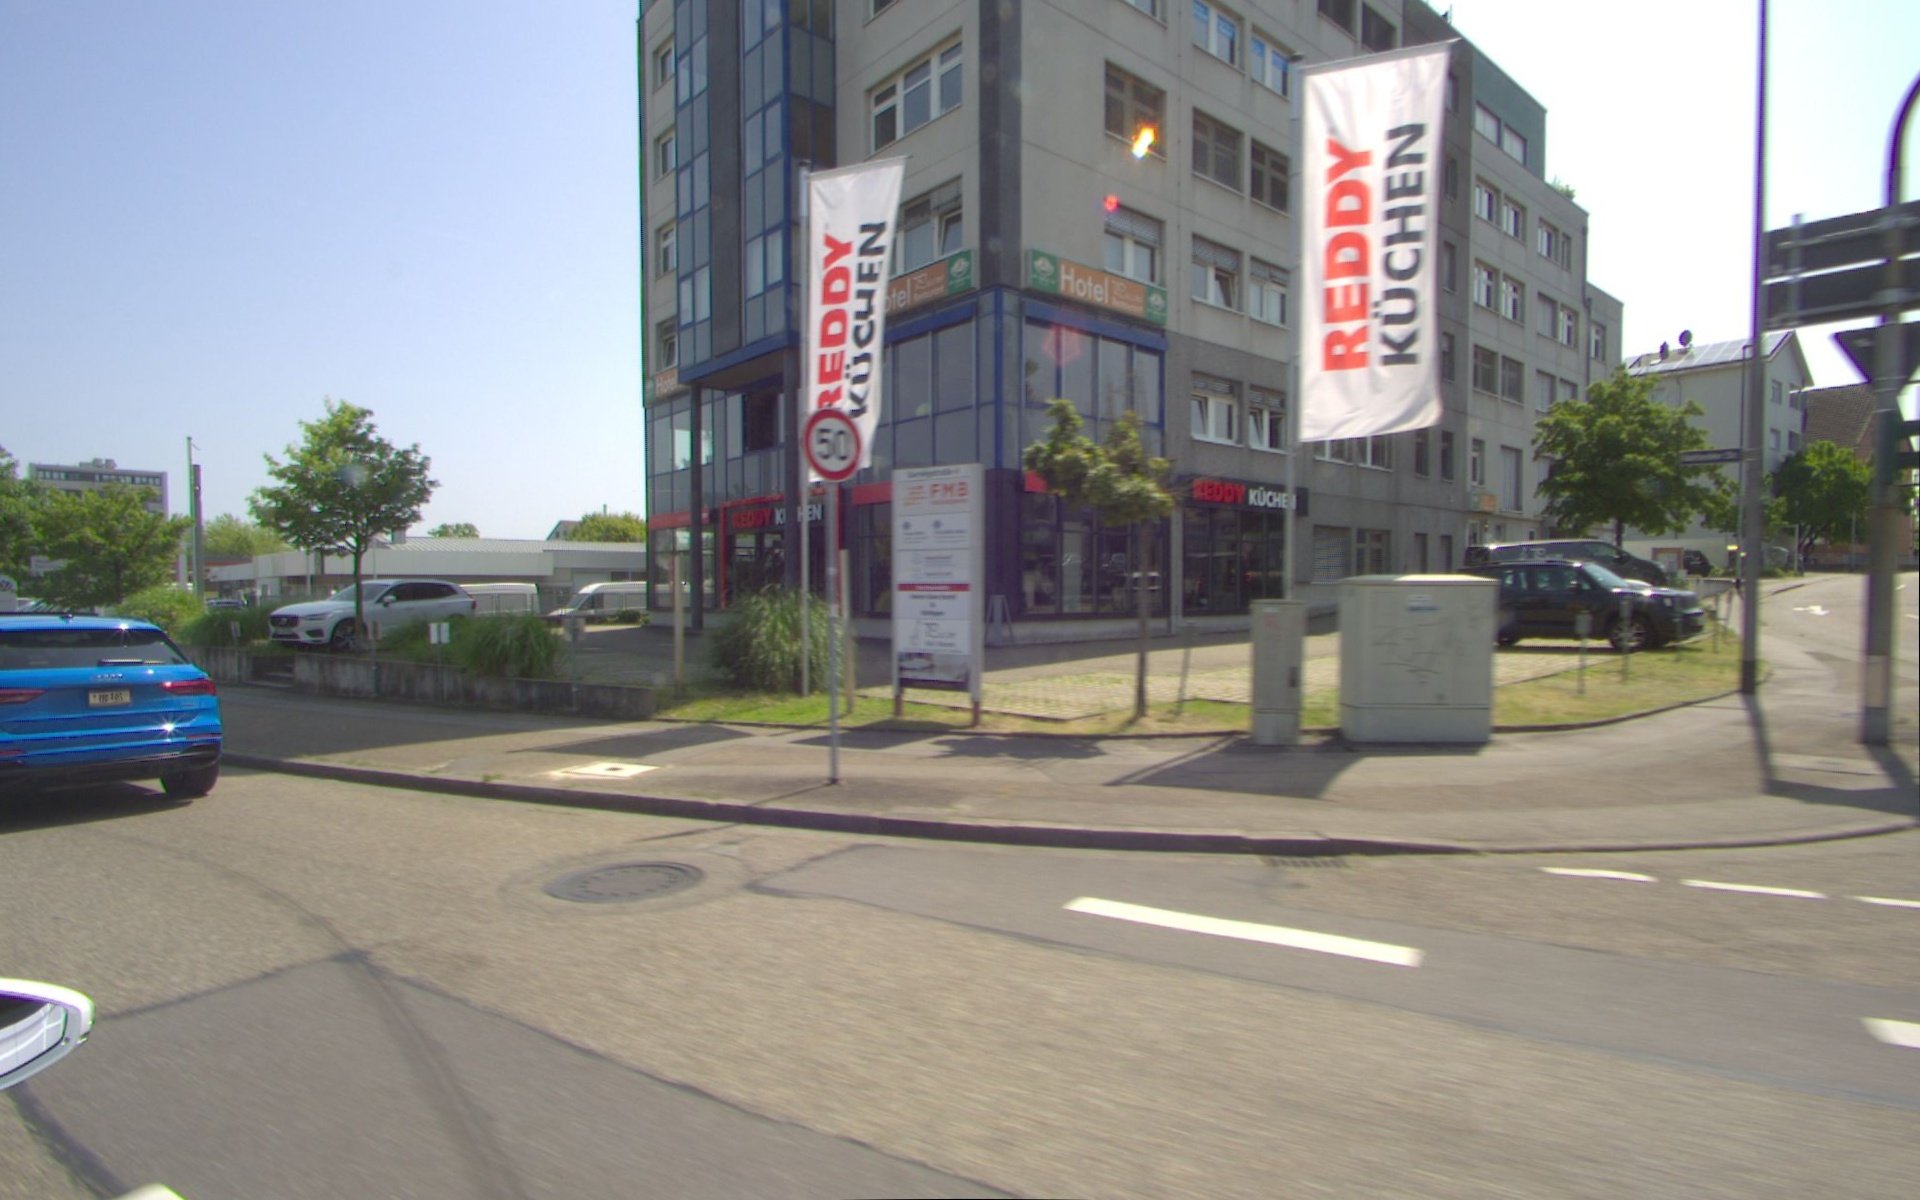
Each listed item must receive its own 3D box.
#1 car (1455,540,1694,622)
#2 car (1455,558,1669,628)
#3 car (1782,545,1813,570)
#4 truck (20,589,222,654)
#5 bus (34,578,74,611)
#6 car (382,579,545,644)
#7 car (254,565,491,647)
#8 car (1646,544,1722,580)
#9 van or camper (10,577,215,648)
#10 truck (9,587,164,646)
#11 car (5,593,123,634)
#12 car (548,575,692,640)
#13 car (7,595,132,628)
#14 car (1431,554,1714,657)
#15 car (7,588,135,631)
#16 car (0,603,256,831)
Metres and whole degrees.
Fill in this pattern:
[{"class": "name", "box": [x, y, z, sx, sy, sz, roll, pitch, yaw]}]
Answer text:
[{"class": "car", "box": [16.265, -0.473, 26.747, 5.091, 2.063, 1.892, 0, -2, 6]}, {"class": "car", "box": [14.484, -0.142, 24.260, 4.143, 1.552, 1.544, -1, -2, 5]}, {"class": "car", "box": [61.488, -3.091, 73.513, 1.703, 1.528, 3.921, -1, -2, 40]}, {"class": "truck", "box": [-34.552, 0.785, 41.390, 6.202, 2.369, 2.344, -2, 3, -44]}, {"class": "bus", "box": [-94.305, -0.614, 104.363, 2.783, 3.121, 12.170, 0, 2, -41]}, {"class": "car", "box": [-20.916, 0.529, 42.388, 5.845, 2.561, 2.100, 1, -2, -43]}, {"class": "car", "box": [-13.791, 0.211, 23.876, 1.965, 1.735, 4.732, -1, -2, 19]}, {"class": "car", "box": [39.260, -2.035, 54.419, 1.844, 1.683, 3.999, -1, -2, 11]}, {"class": "van or camper", "box": [-37.624, 0.464, 44.680, 2.251, 2.937, 6.755, 1, 2, 44]}, {"class": "truck", "box": [-40.142, 0.680, 46.127, 5.211, 2.469, 2.090, -2, 2, -44]}, {"class": "car", "box": [-51.721, 0.733, 57.878, 2.106, 2.144, 4.869, 2, 3, 44]}, {"class": "car", "box": [-15.729, 0.414, 46.597, 6.077, 2.845, 1.981, 1, -2, -44]}, {"class": "car", "box": [-56.725, 0.744, 63.941, 5.850, 2.040, 2.239, 1, -1, -41]}, {"class": "car", "box": [11.283, 0.123, 18.688, 1.528, 1.697, 4.289, 0, 0, -43]}, {"class": "car", "box": [-54.858, 0.619, 61.920, 5.803, 2.556, 2.184, 1, -2, -43]}, {"class": "car", "box": [-8.269, 0.871, 8.847, 4.334, 1.618, 1.909, -1, -1, 33]}]
